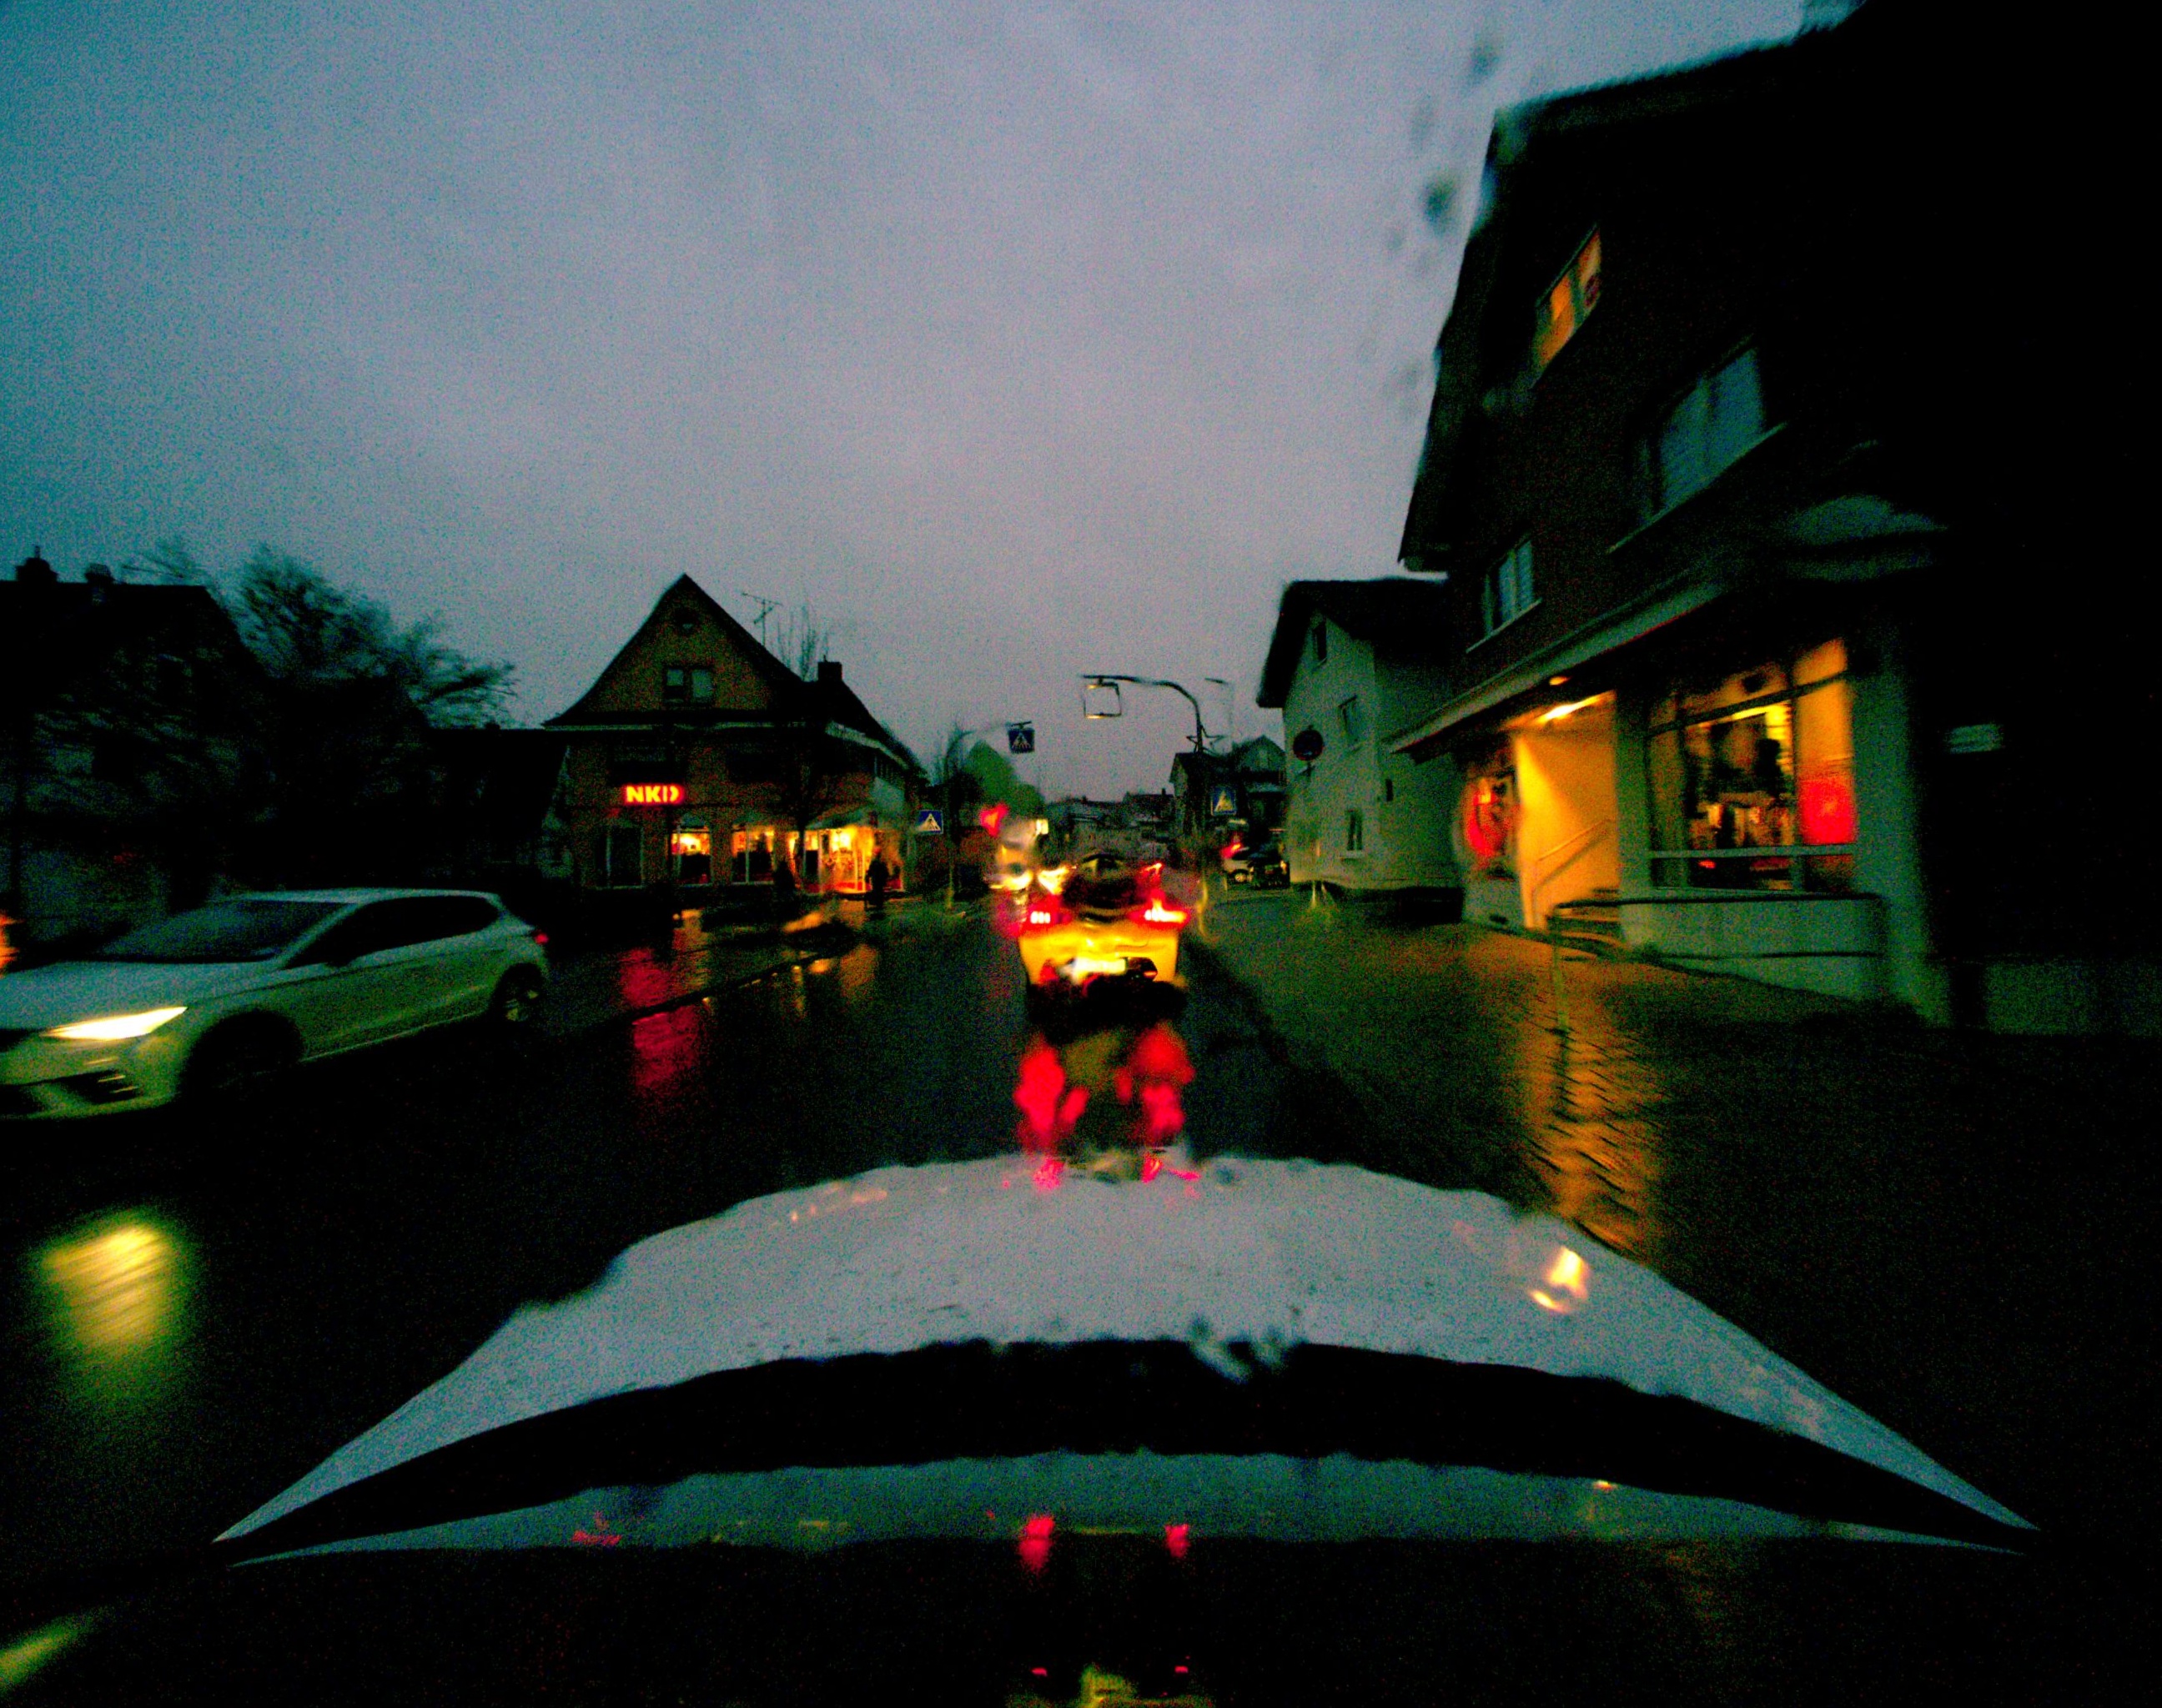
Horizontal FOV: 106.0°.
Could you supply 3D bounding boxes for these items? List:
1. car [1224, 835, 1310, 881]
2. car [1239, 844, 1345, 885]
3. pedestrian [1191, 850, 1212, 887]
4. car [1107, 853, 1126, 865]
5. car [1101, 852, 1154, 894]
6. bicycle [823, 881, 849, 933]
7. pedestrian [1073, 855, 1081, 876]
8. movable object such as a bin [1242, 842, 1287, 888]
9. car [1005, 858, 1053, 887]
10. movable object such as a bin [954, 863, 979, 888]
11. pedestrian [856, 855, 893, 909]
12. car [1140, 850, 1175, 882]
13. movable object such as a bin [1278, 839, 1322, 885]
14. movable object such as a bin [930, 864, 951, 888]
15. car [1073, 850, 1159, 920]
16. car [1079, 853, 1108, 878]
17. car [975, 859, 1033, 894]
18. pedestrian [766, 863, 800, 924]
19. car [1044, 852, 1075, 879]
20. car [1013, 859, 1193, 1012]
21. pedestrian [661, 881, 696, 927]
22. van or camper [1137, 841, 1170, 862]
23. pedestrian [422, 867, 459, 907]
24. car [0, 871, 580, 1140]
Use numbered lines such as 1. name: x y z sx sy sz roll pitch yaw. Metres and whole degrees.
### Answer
1. car: 9.490 0.201 41.726 4.063 2.049 2.007 -4 -1 12
2. car: 8.660 0.457 33.690 3.966 1.486 1.916 -2 -1 7
3. pedestrian: 6.251 0.750 42.413 0.963 1.889 1.006 0 -1 1
4. car: 5.731 0.776 130.852 1.995 1.765 4.332 -3 0 -12
5. car: 1.840 0.757 33.236 1.986 1.588 4.001 0 -1 1
6. bicycle: -5.769 1.222 19.220 0.324 1.061 1.737 -6 2 -12
7. pedestrian: -0.324 0.887 63.228 0.571 1.585 0.531 -2 0 5
8. movable object such as a bin: 7.025 0.421 31.275 1.388 1.644 1.262 -4 0 1
9. car: -2.909 1.013 46.281 1.984 1.522 4.984 -1 -1 4
10. movable object such as a bin: -6.817 1.266 48.451 1.338 1.354 0.887 -4 -1 -6
11. pedestrian: -6.529 0.876 25.795 0.822 1.658 1.099 0 -1 6
12. car: 4.549 0.719 49.055 1.985 1.857 4.004 0 -1 4
13. movable object such as a bin: 8.375 0.311 31.164 1.281 1.644 1.185 -4 0 1
14. movable object such as a bin: -8.353 1.302 48.342 1.148 1.354 0.850 -1 -1 -6
15. car: 0.863 0.732 21.017 1.985 1.625 4.001 0 -1 1
16. car: 0.984 0.830 61.054 1.986 1.705 4.970 1 1 2
17. car: -3.616 1.053 39.181 1.984 1.558 4.627 0 0 5
18. pedestrian: -10.005 1.305 27.349 0.815 2.014 0.741 0 -1 35
19. car: -1.527 0.796 59.421 2.079 1.792 5.023 -1 0 0
20. car: 0.242 0.836 10.222 1.808 1.533 4.000 0 -1 0
21. pedestrian: -11.424 1.405 23.093 0.691 1.245 0.816 0 -1 -41
22. van or camper: 11.720 -0.367 131.641 2.659 3.047 6.692 -5 1 -18
23. pedestrian: -28.416 1.457 36.156 0.916 1.715 0.838 -2 0 -9
24. car: -6.387 0.909 6.737 1.777 1.489 4.184 0 -1 2
